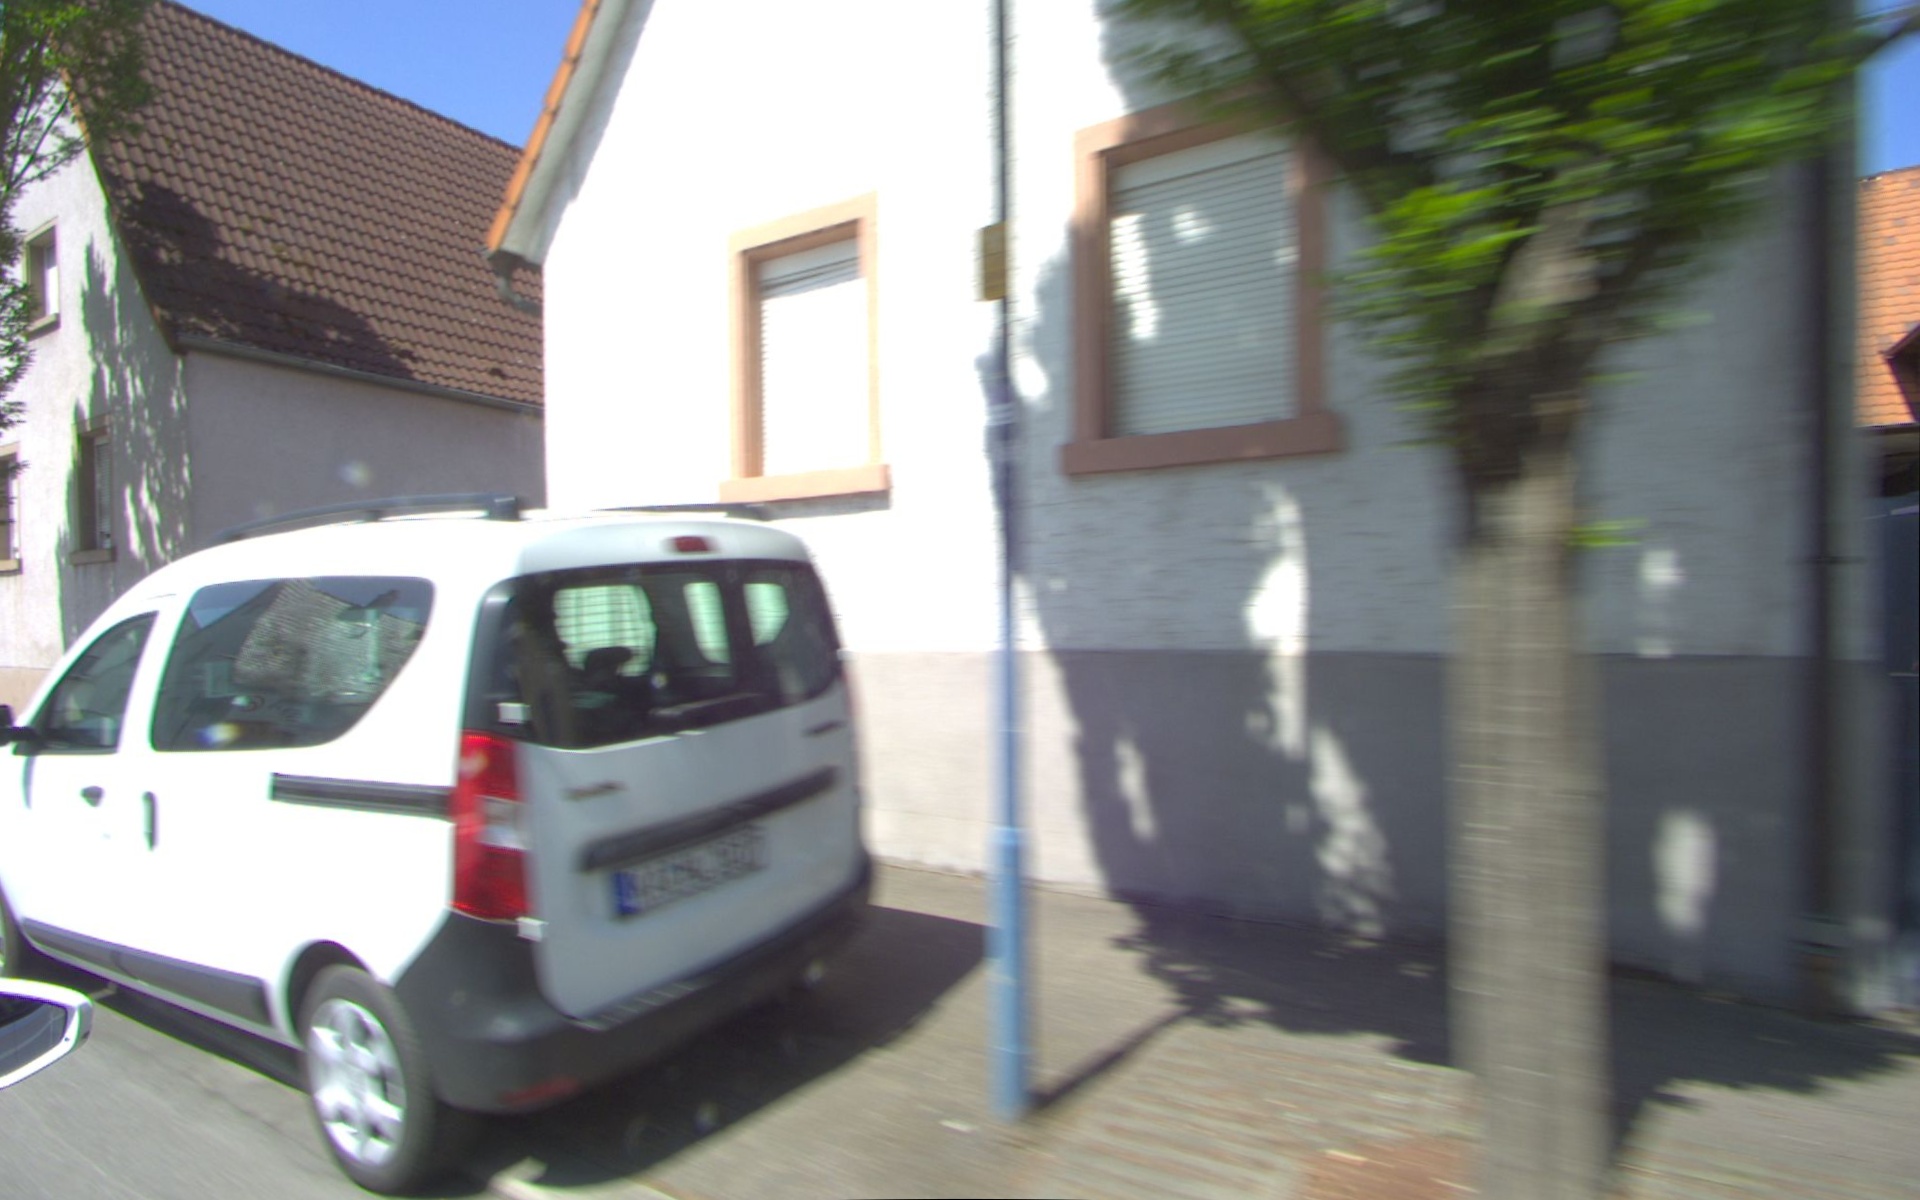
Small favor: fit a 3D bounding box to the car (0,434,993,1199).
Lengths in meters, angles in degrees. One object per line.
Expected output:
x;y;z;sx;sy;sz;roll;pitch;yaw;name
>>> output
-2.344;0.606;3.958;4.695;1.868;1.684;-1;2;32;car
